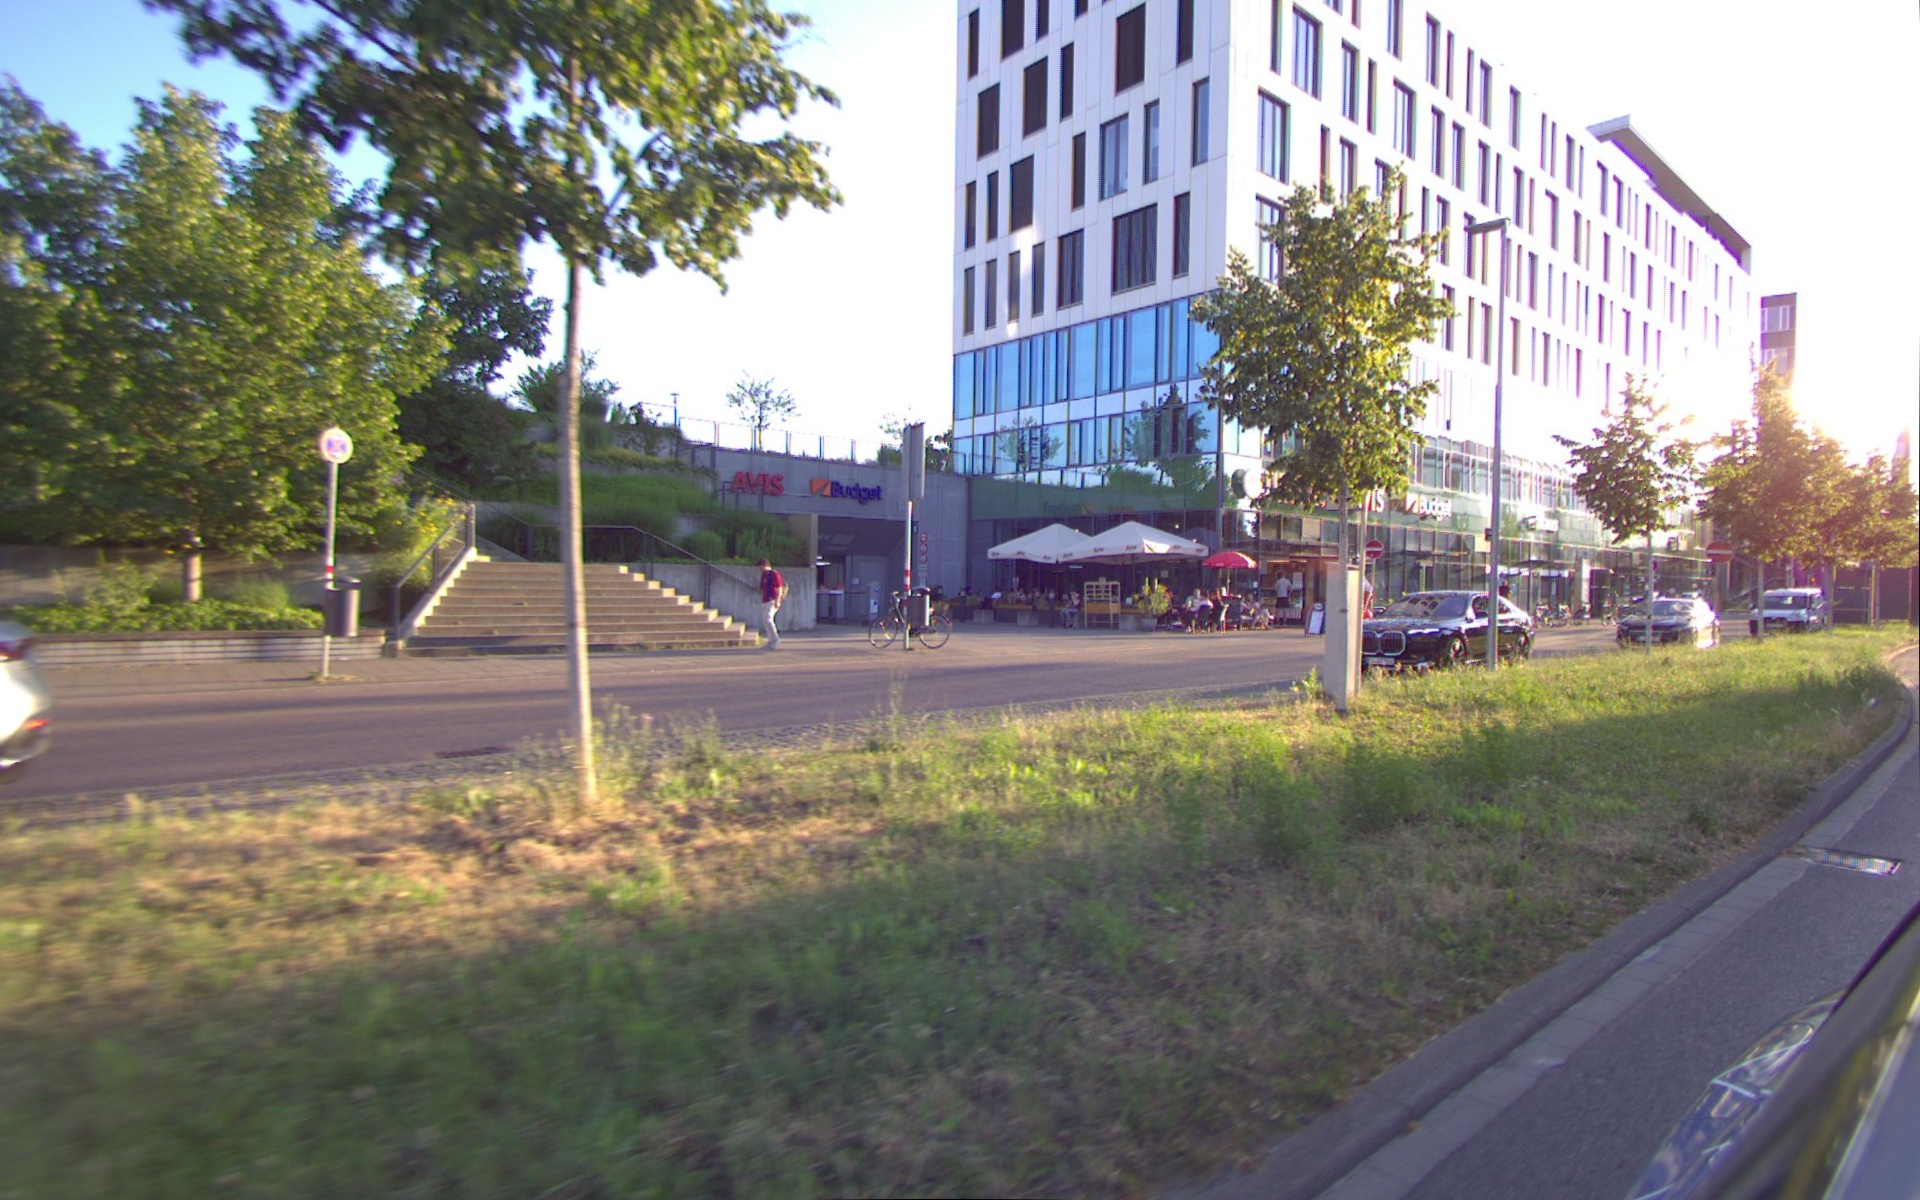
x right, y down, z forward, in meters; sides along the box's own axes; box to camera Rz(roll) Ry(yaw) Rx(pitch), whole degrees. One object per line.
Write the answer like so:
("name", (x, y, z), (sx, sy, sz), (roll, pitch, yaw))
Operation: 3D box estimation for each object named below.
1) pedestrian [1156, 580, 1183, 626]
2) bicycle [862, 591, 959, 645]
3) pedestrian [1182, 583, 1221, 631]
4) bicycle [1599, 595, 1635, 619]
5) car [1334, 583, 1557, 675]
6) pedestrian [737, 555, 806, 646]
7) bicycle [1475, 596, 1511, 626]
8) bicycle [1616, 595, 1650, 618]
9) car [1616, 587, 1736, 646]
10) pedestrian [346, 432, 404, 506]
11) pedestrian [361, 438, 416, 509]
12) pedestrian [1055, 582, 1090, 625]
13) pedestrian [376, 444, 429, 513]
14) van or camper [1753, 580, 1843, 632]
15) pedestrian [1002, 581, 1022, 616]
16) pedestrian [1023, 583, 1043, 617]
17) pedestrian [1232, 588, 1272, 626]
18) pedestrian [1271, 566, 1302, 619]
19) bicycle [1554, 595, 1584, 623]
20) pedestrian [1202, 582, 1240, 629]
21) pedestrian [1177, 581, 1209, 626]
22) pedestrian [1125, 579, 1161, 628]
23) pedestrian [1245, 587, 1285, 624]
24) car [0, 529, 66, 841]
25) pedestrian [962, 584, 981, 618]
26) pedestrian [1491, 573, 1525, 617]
("pedestrian", (6.190, 0.087, 29.898), (0.654, 1.306, 0.681), (3, 2, 17))
("bicycle", (-0.994, 0.366, 20.542), (1.872, 1.056, 0.546), (0, 1, -21))
("pedestrian", (6.935, 0.201, 29.076), (0.671, 1.306, 0.783), (1, 3, -34))
("bicycle", (30.355, 0.343, 46.746), (1.879, 1.053, 0.532), (1, 2, -29))
("car", (9.376, 0.470, 19.303), (5.317, 1.519, 1.923), (0, 1, -42))
("pedestrian", (-3.567, 0.001, 19.134), (1.060, 1.675, 0.696), (0, 1, -41))
("bicycle", (19.553, 0.396, 37.110), (0.596, 1.053, 2.041), (4, 3, 42))
("bicycle", (32.393, 0.331, 48.708), (1.838, 1.053, 0.532), (1, 2, -29))
("car", (20.320, 0.414, 28.657), (4.401, 1.519, 1.811), (0, 1, -42))
("pedestrian", (-11.815, -2.637, 20.462), (0.810, 1.399, 0.671), (0, -1, -9))
("pedestrian", (-11.989, -2.642, 21.254), (0.810, 1.399, 0.671), (1, -1, -9))
("pedestrian", (3.450, 0.089, 30.995), (0.757, 1.281, 0.744), (0, 1, -40))
("pedestrian", (-12.097, -2.630, 21.966), (0.810, 1.399, 0.671), (0, -1, -9))
("van or camper", (33.103, 0.226, 39.938), (4.744, 1.944, 1.962), (0, -1, -40))
("pedestrian", (1.879, -0.062, 36.742), (0.525, 1.230, 0.476), (0, 1, -35))
("pedestrian", (2.641, -0.015, 36.794), (0.525, 1.230, 0.476), (0, 1, -35))
("pedestrian", (9.266, 0.210, 32.094), (0.672, 1.139, 0.975), (0, 3, -40))
("pedestrian", (11.402, -0.265, 35.345), (0.670, 1.781, 0.664), (1, 2, -23))
("bicycle", (25.739, 0.357, 42.762), (2.110, 1.122, 0.388), (0, 4, -41))
("pedestrian", (7.608, 0.145, 29.491), (0.671, 1.306, 0.778), (1, 3, -34))
("pedestrian", (6.992, 0.098, 30.358), (0.681, 1.306, 0.621), (4, 3, 36))
("pedestrian", (5.277, 0.090, 29.171), (0.741, 1.385, 0.760), (1, 1, 38))
("pedestrian", (9.823, 0.171, 32.591), (0.672, 1.139, 0.975), (0, 3, -40))
("car", (-7.221, 0.449, 4.674), (4.595, 1.653, 1.811), (0, 0, -42))
("pedestrian", (0.424, 0.035, 36.907), (0.525, 1.230, 0.476), (0, 1, -35))
("pedestrian", (24.402, -0.237, 45.073), (0.931, 1.906, 1.028), (0, 1, -42))
